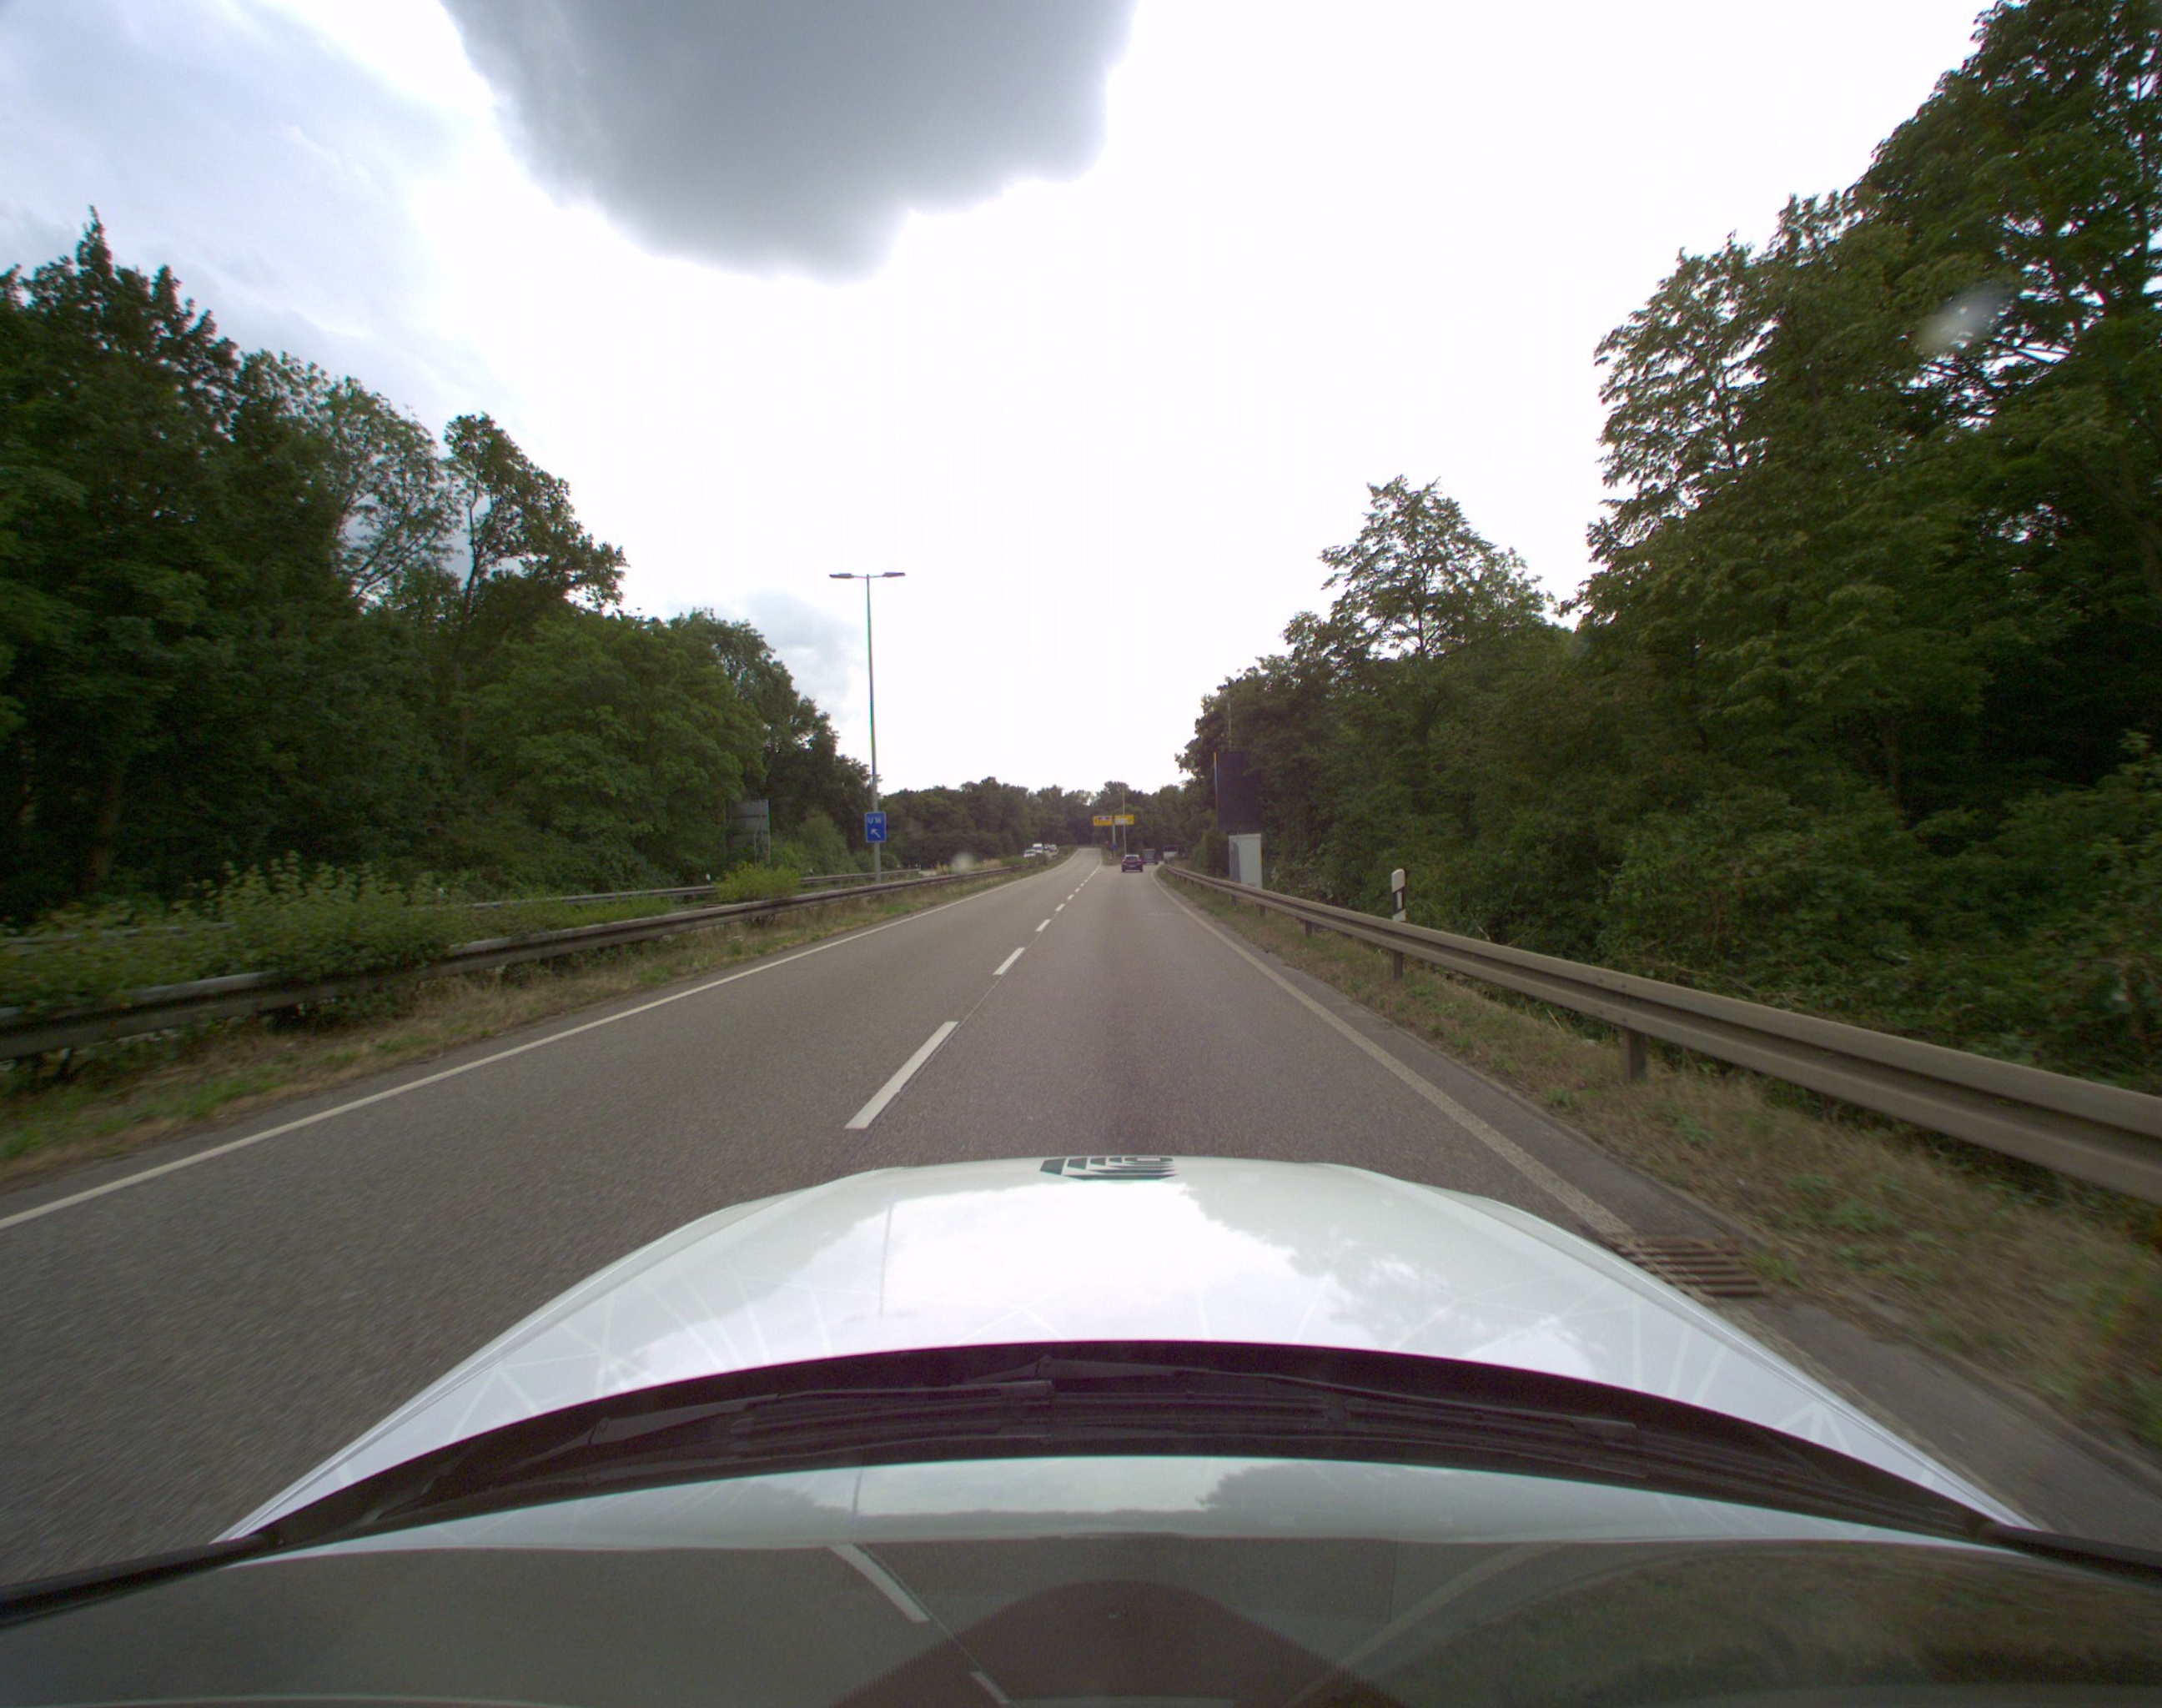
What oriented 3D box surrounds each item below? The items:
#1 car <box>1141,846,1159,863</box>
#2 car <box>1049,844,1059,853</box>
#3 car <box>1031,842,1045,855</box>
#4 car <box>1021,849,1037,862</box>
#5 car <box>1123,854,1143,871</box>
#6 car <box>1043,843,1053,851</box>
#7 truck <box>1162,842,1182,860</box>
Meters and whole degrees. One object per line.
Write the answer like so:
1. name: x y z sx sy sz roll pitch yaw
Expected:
1. car: 8.989 0.055 105.476 2.137 2.014 4.006 -2 -1 6
2. car: -6.607 -1.398 198.010 1.985 2.013 4.003 -2 1 2
3. car: -8.451 -1.102 159.526 2.109 2.591 5.043 -2 1 2
4. car: -8.265 0.269 129.052 1.985 1.847 4.003 -2 1 2
5. car: 4.494 0.739 70.428 1.619 1.377 4.002 -2 -1 2
6. car: -9.485 -1.961 235.780 1.999 2.014 3.976 -1 -1 -17
7. truck: 16.042 -0.517 143.711 2.962 2.885 8.012 -2 -1 10
